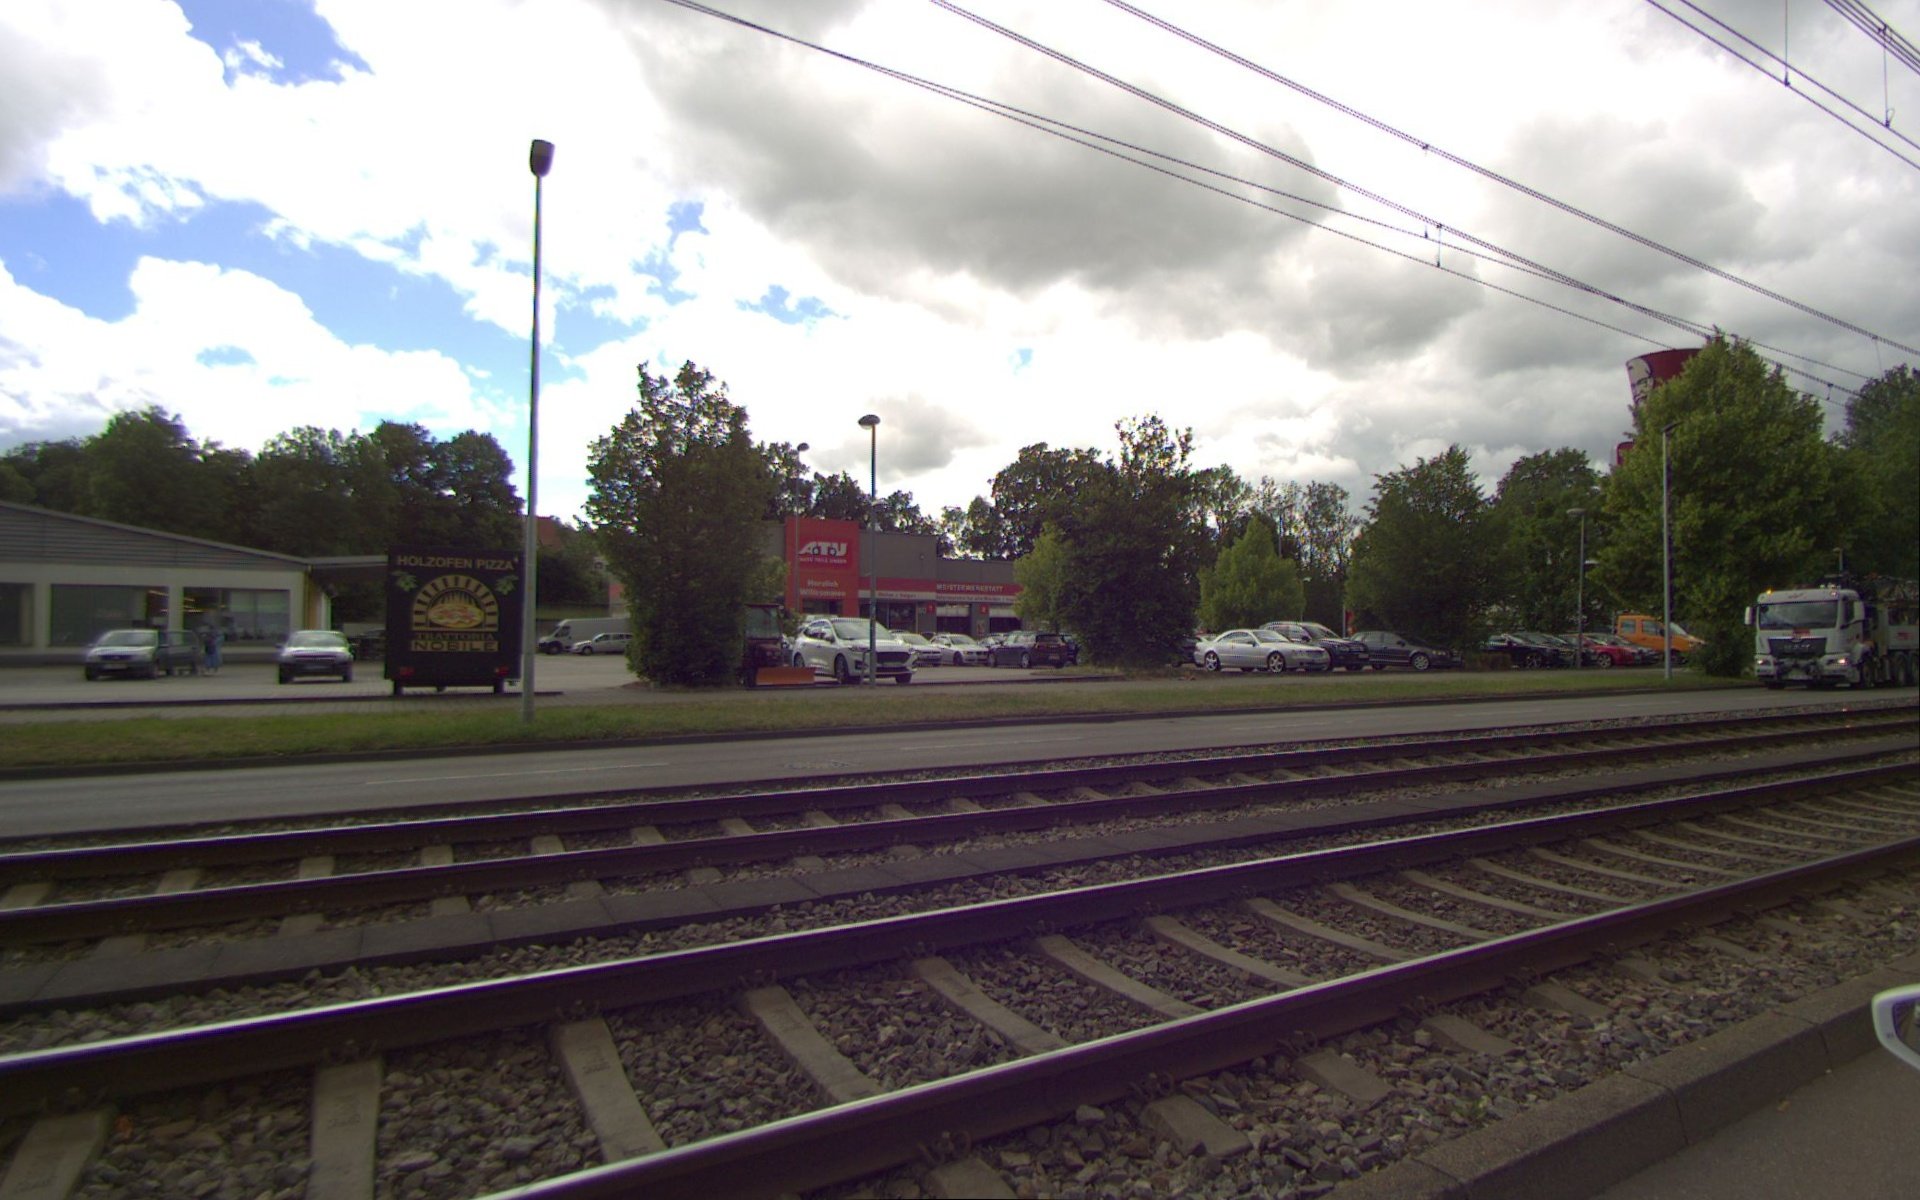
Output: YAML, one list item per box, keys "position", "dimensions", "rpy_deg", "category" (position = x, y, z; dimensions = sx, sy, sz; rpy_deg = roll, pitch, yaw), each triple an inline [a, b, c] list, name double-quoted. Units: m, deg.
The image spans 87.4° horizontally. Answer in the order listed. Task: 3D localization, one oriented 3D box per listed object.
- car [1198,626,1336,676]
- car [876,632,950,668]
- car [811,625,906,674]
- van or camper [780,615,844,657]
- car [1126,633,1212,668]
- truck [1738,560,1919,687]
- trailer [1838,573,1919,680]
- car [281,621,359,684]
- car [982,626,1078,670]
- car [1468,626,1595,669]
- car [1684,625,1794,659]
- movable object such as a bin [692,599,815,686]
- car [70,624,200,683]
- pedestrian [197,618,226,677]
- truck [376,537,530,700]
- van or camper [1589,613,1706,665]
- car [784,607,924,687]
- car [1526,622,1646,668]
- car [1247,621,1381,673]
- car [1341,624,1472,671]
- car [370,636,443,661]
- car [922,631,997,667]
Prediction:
- position: [9.848, 1.591, 32.567]
  dimensions: [1.662, 1.491, 4.284]
  rpy_deg: [1, -2, -32]
  category: "car"
- position: [-2.155, 2.202, 44.864]
  dimensions: [1.663, 1.527, 3.934]
  rpy_deg: [1, -2, -31]
  category: "car"
- position: [-3.838, 1.802, 37.388]
  dimensions: [1.917, 1.706, 4.265]
  rpy_deg: [1, -2, -31]
  category: "car"
- position: [-8.070, 1.964, 54.483]
  dimensions: [1.803, 2.173, 4.235]
  rpy_deg: [1, -3, -34]
  category: "van or camper"
- position: [9.475, 2.283, 45.824]
  dimensions: [1.663, 1.527, 3.934]
  rpy_deg: [1, -2, -31]
  category: "car"
- position: [29.917, 0.848, 33.648]
  dimensions: [10.994, 3.712, 2.691]
  rpy_deg: [1, -2, -34]
  category: "truck"
- position: [38.366, 1.079, 39.258]
  dimensions: [13.158, 3.708, 2.689]
  rpy_deg: [1, -2, -34]
  category: "trailer"
- position: [-18.148, 1.475, 28.618]
  dimensions: [1.668, 1.661, 3.903]
  rpy_deg: [1, -2, -30]
  category: "car"
- position: [2.811, 1.969, 41.342]
  dimensions: [1.917, 1.706, 4.265]
  rpy_deg: [1, -2, -31]
  category: "car"
- position: [22.528, 1.857, 39.744]
  dimensions: [1.859, 1.620, 3.963]
  rpy_deg: [1, -2, -34]
  category: "car"
- position: [38.529, 2.074, 49.784]
  dimensions: [1.778, 1.620, 3.963]
  rpy_deg: [1, -2, -34]
  category: "car"
- position: [-5.162, 1.052, 24.774]
  dimensions: [1.661, 1.963, 3.964]
  rpy_deg: [1, -3, -33]
  category: "movable object such as a bin"
- position: [-25.139, 1.598, 30.781]
  dimensions: [2.438, 1.661, 3.903]
  rpy_deg: [1, -3, -30]
  category: "car"
- position: [-24.145, 1.534, 32.395]
  dimensions: [0.656, 1.879, 0.542]
  rpy_deg: [1, -2, -30]
  category: "pedestrian"
- position: [-10.128, 0.405, 19.923]
  dimensions: [2.350, 2.859, 3.965]
  rpy_deg: [1, -2, -32]
  category: "truck"
- position: [31.002, 1.715, 45.402]
  dimensions: [1.859, 2.163, 3.962]
  rpy_deg: [1, -1, -34]
  category: "van or camper"
- position: [-2.715, 1.145, 25.072]
  dimensions: [1.859, 1.821, 3.963]
  rpy_deg: [1, -2, -34]
  category: "car"
- position: [26.740, 1.877, 42.993]
  dimensions: [1.859, 1.821, 3.962]
  rpy_deg: [1, -1, -34]
  category: "car"
- position: [11.953, 1.578, 34.137]
  dimensions: [1.859, 1.656, 3.963]
  rpy_deg: [1, -2, -34]
  category: "car"
- position: [16.139, 1.701, 36.465]
  dimensions: [1.859, 1.620, 3.963]
  rpy_deg: [1, -2, -34]
  category: "car"
- position: [-31.155, 2.700, 56.577]
  dimensions: [3.547, 1.352, 1.464]
  rpy_deg: [1, -2, -30]
  category: "car"
- position: [-0.071, 2.203, 45.714]
  dimensions: [1.663, 1.527, 3.934]
  rpy_deg: [1, -2, -31]
  category: "car"
